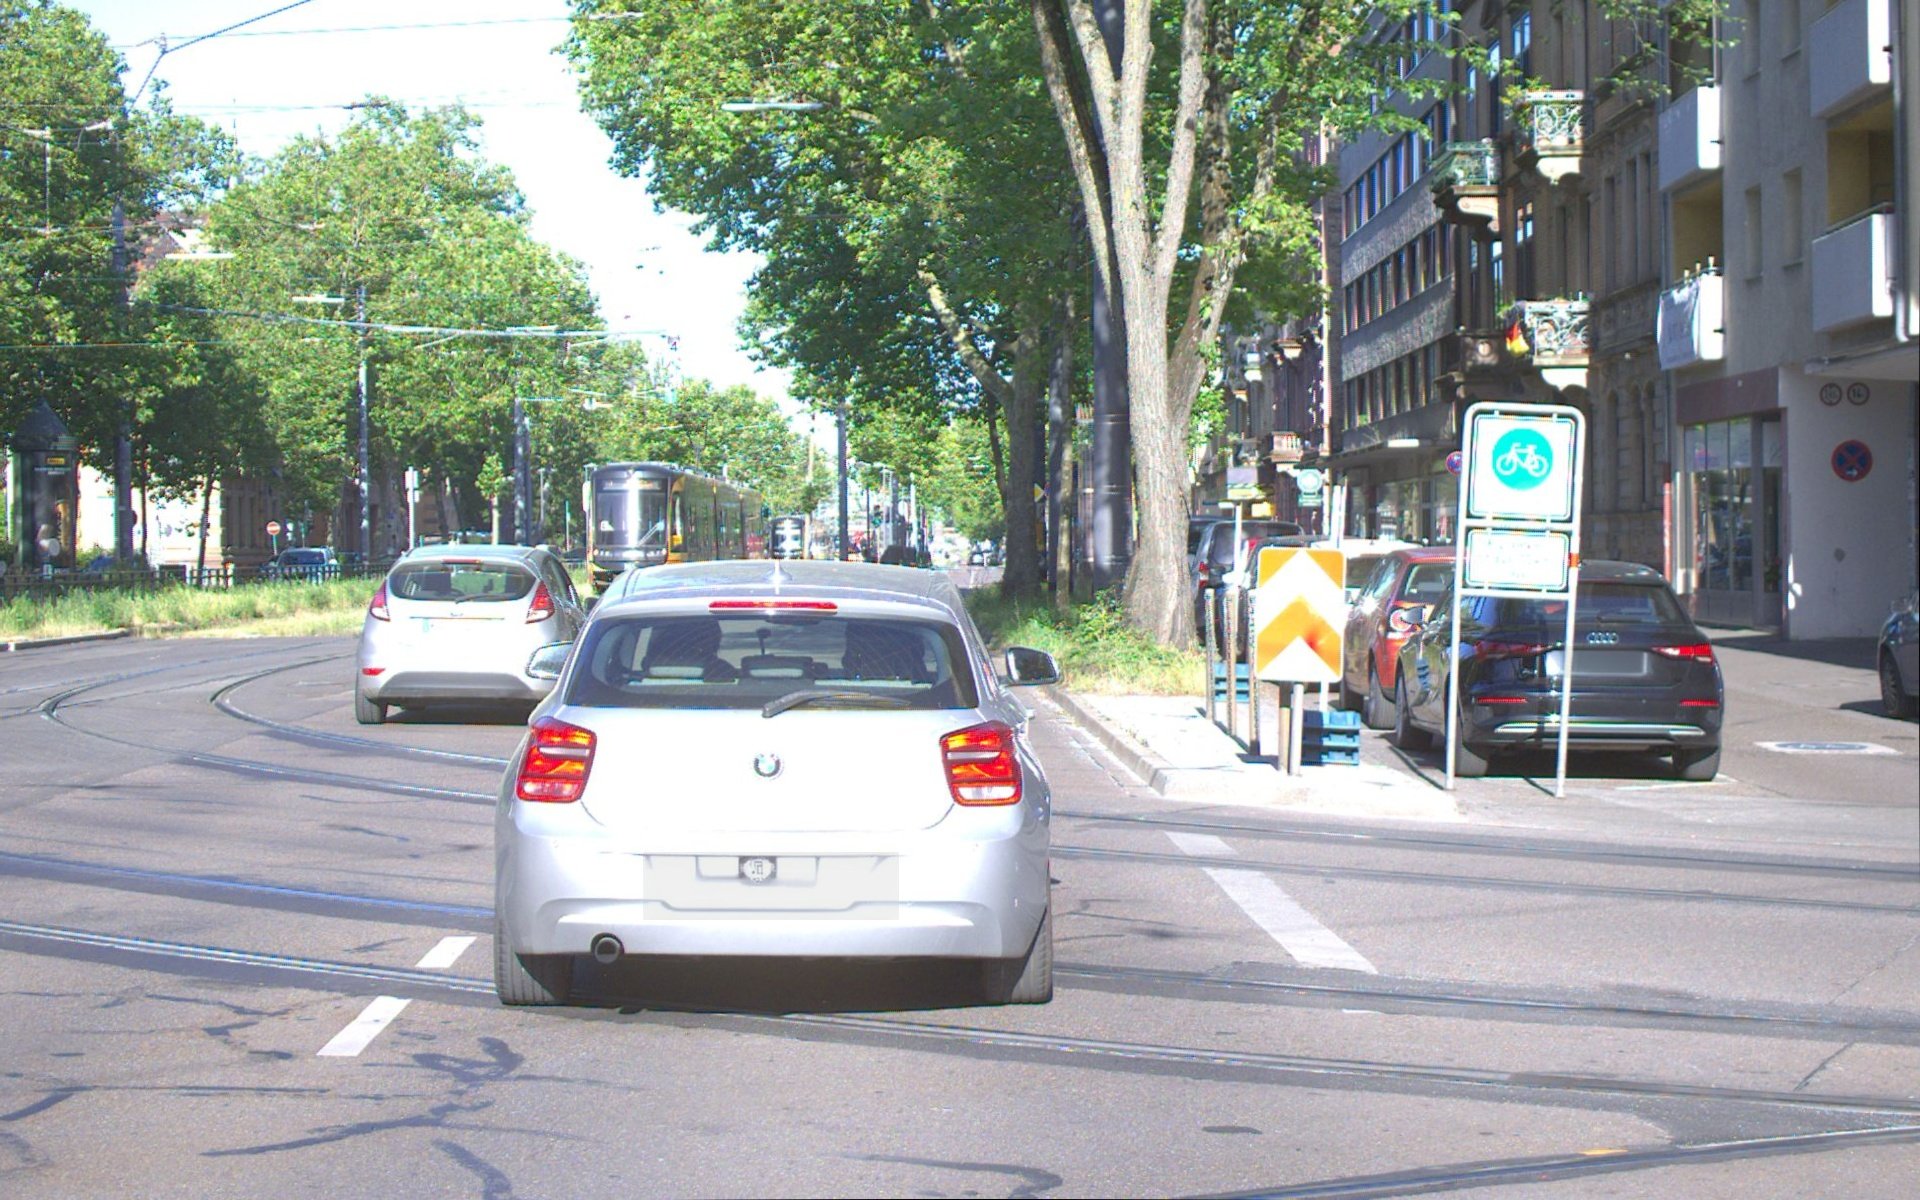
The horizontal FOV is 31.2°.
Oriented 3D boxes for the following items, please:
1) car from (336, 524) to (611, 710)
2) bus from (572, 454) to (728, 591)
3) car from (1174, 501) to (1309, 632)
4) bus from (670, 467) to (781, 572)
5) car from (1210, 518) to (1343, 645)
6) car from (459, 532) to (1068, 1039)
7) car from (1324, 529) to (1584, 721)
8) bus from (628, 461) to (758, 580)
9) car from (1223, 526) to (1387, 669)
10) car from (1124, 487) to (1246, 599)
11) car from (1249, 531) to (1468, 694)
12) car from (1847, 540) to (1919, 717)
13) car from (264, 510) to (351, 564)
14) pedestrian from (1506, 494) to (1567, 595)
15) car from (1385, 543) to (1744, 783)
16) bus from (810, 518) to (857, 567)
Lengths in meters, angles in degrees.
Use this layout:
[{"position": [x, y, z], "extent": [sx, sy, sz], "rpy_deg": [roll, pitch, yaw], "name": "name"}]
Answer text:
[{"position": [-3.956, 0.091, 28.469], "extent": [1.647, 1.358, 3.760], "rpy_deg": [2, 2, 1], "name": "car"}, {"position": [-8.295, -2.111, 93.770], "extent": [2.869, 3.432, 13.217], "rpy_deg": [1, 1, 1], "name": "bus"}, {"position": [3.835, -0.491, 47.331], "extent": [1.625, 1.662, 4.141], "rpy_deg": [2, 2, 2], "name": "car"}, {"position": [-7.978, -2.770, 118.449], "extent": [2.869, 3.432, 11.611], "rpy_deg": [1, 1, 1], "name": "bus"}, {"position": [3.964, -0.265, 43.421], "extent": [1.512, 1.475, 3.491], "rpy_deg": [2, 2, 3], "name": "car"}, {"position": [-0.587, 0.507, 12.104], "extent": [1.762, 1.427, 4.000], "rpy_deg": [1, 2, 0], "name": "car"}, {"position": [4.101, 0.155, 29.046], "extent": [1.589, 1.429, 3.905], "rpy_deg": [2, 2, 0], "name": "car"}, {"position": [-8.158, -2.454, 106.516], "extent": [2.869, 3.432, 12.215], "rpy_deg": [1, 1, 1], "name": "bus"}, {"position": [3.879, -0.068, 39.109], "extent": [1.561, 1.480, 3.787], "rpy_deg": [2, 2, 2], "name": "car"}, {"position": [3.884, -1.014, 60.072], "extent": [1.865, 1.809, 4.800], "rpy_deg": [2, 2, 1], "name": "car"}, {"position": [3.973, 0.082, 34.798], "extent": [1.626, 1.472, 3.698], "rpy_deg": [2, 2, -2], "name": "car"}, {"position": [9.045, 0.238, 29.438], "extent": [1.693, 1.475, 4.001], "rpy_deg": [-2, 2, -2], "name": "car"}, {"position": [-20.852, -2.034, 110.024], "extent": [1.885, 1.614, 4.598], "rpy_deg": [2, 2, -1], "name": "car"}, {"position": [10.533, -1.012, 62.837], "extent": [0.999, 1.833, 0.715], "rpy_deg": [0, 1, 2], "name": "pedestrian"}, {"position": [4.089, 0.366, 23.864], "extent": [1.696, 1.416, 4.170], "rpy_deg": [2, 2, 0], "name": "car"}, {"position": [-9.784, -4.514, 267.554], "extent": [2.750, 3.613, 18.848], "rpy_deg": [1, 1, 1], "name": "bus"}]
